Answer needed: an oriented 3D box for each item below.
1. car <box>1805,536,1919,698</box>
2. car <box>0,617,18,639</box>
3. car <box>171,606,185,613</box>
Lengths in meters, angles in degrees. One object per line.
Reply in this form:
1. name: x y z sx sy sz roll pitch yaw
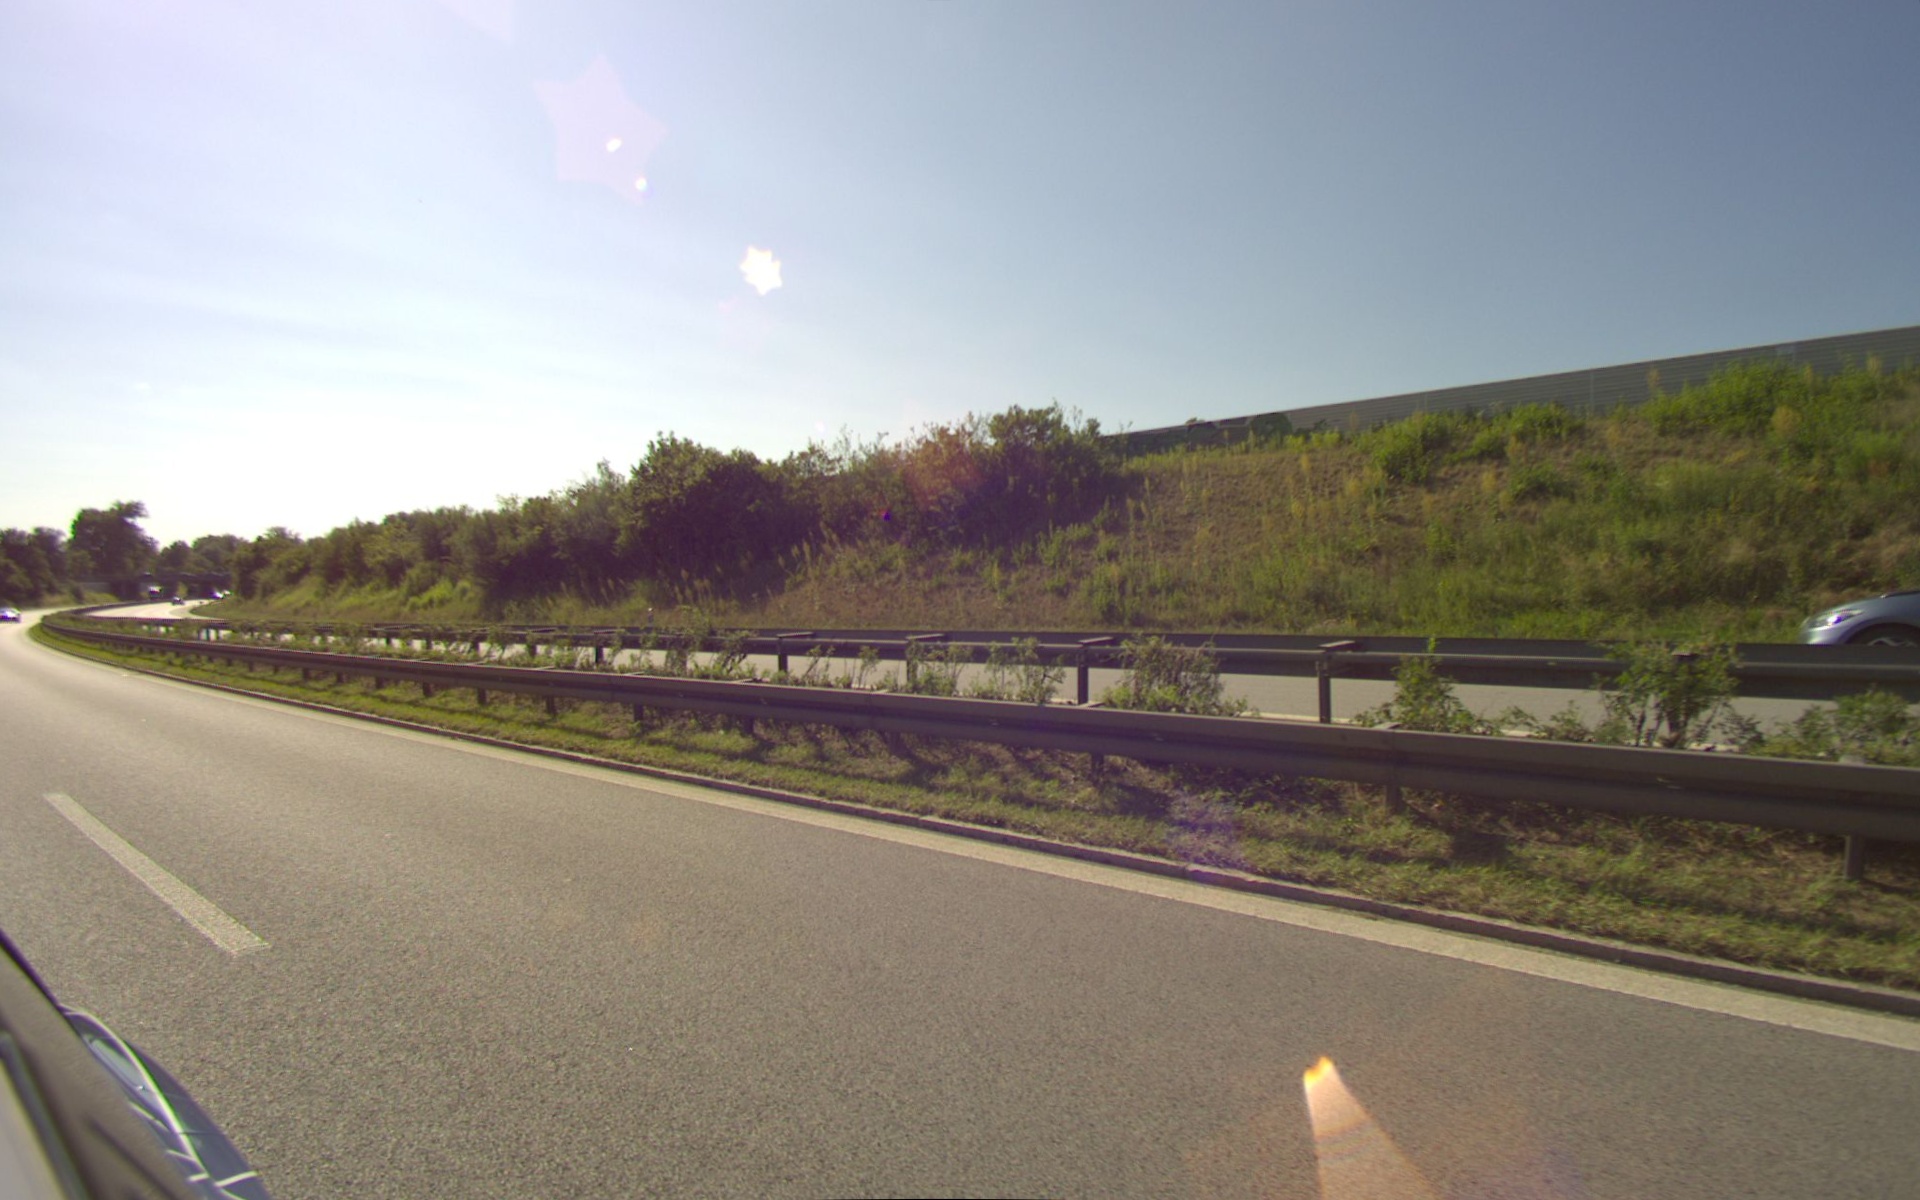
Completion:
1. car: 10.594 0.116 9.013 4.682 1.491 1.801 -1 1 41
2. car: -96.237 2.840 101.765 1.969 2.028 4.606 -4 2 -41
3. car: -154.754 1.861 200.142 1.877 1.433 4.404 0 -1 -42
